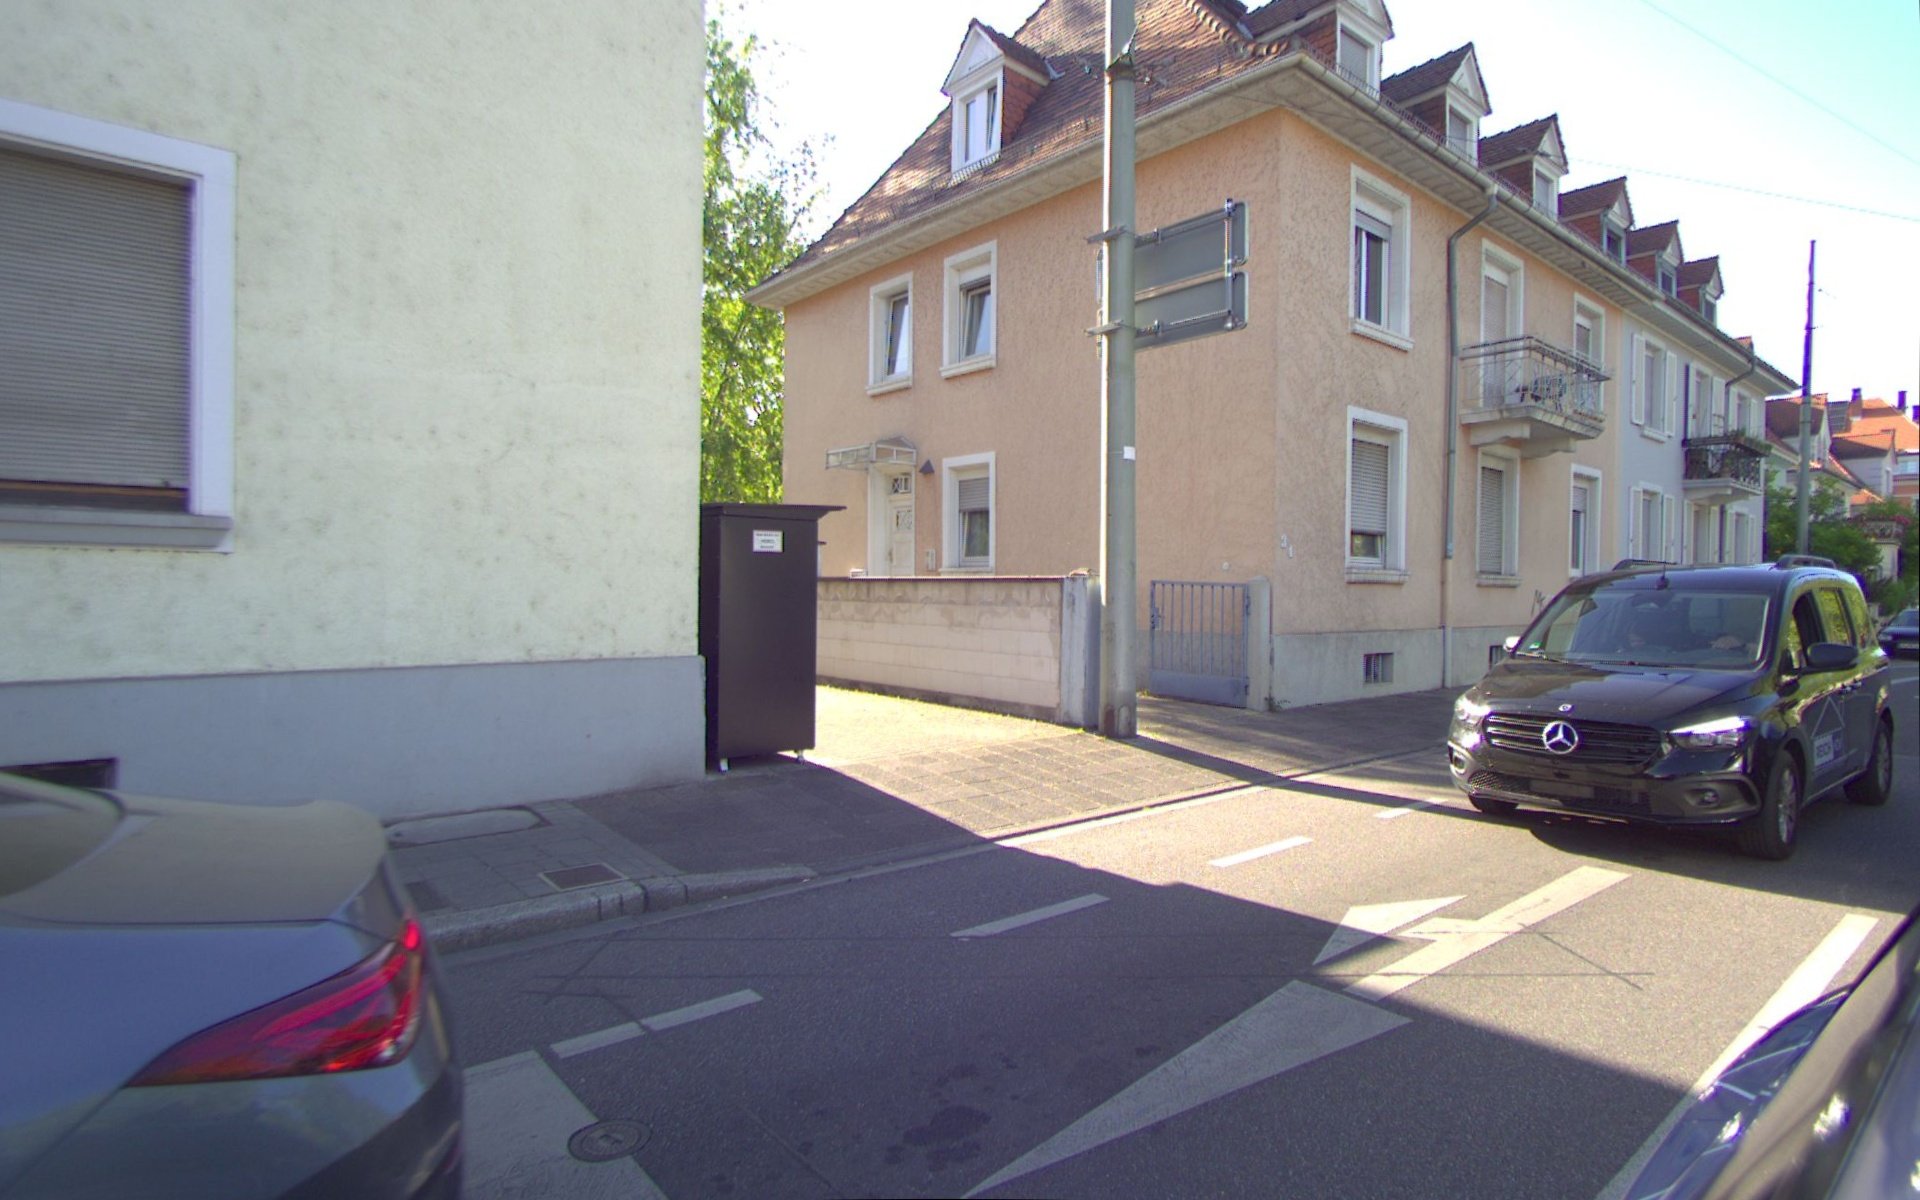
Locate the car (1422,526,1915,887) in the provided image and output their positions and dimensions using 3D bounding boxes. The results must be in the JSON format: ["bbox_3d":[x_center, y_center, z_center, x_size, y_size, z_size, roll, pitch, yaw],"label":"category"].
[{"bbox_3d":[5.365,0.511,7.374,4.695,1.827,1.864,-1,0,-41],"label":"car"}]

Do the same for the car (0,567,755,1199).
[{"bbox_3d":[-2.621,0.694,0.940,4.413,1.437,1.911,-1,0,-40],"label":"car"}]

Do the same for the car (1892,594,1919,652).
[{"bbox_3d":[26.686,0.597,27.310,3.930,1.476,1.839,-1,0,-41],"label":"car"}]
